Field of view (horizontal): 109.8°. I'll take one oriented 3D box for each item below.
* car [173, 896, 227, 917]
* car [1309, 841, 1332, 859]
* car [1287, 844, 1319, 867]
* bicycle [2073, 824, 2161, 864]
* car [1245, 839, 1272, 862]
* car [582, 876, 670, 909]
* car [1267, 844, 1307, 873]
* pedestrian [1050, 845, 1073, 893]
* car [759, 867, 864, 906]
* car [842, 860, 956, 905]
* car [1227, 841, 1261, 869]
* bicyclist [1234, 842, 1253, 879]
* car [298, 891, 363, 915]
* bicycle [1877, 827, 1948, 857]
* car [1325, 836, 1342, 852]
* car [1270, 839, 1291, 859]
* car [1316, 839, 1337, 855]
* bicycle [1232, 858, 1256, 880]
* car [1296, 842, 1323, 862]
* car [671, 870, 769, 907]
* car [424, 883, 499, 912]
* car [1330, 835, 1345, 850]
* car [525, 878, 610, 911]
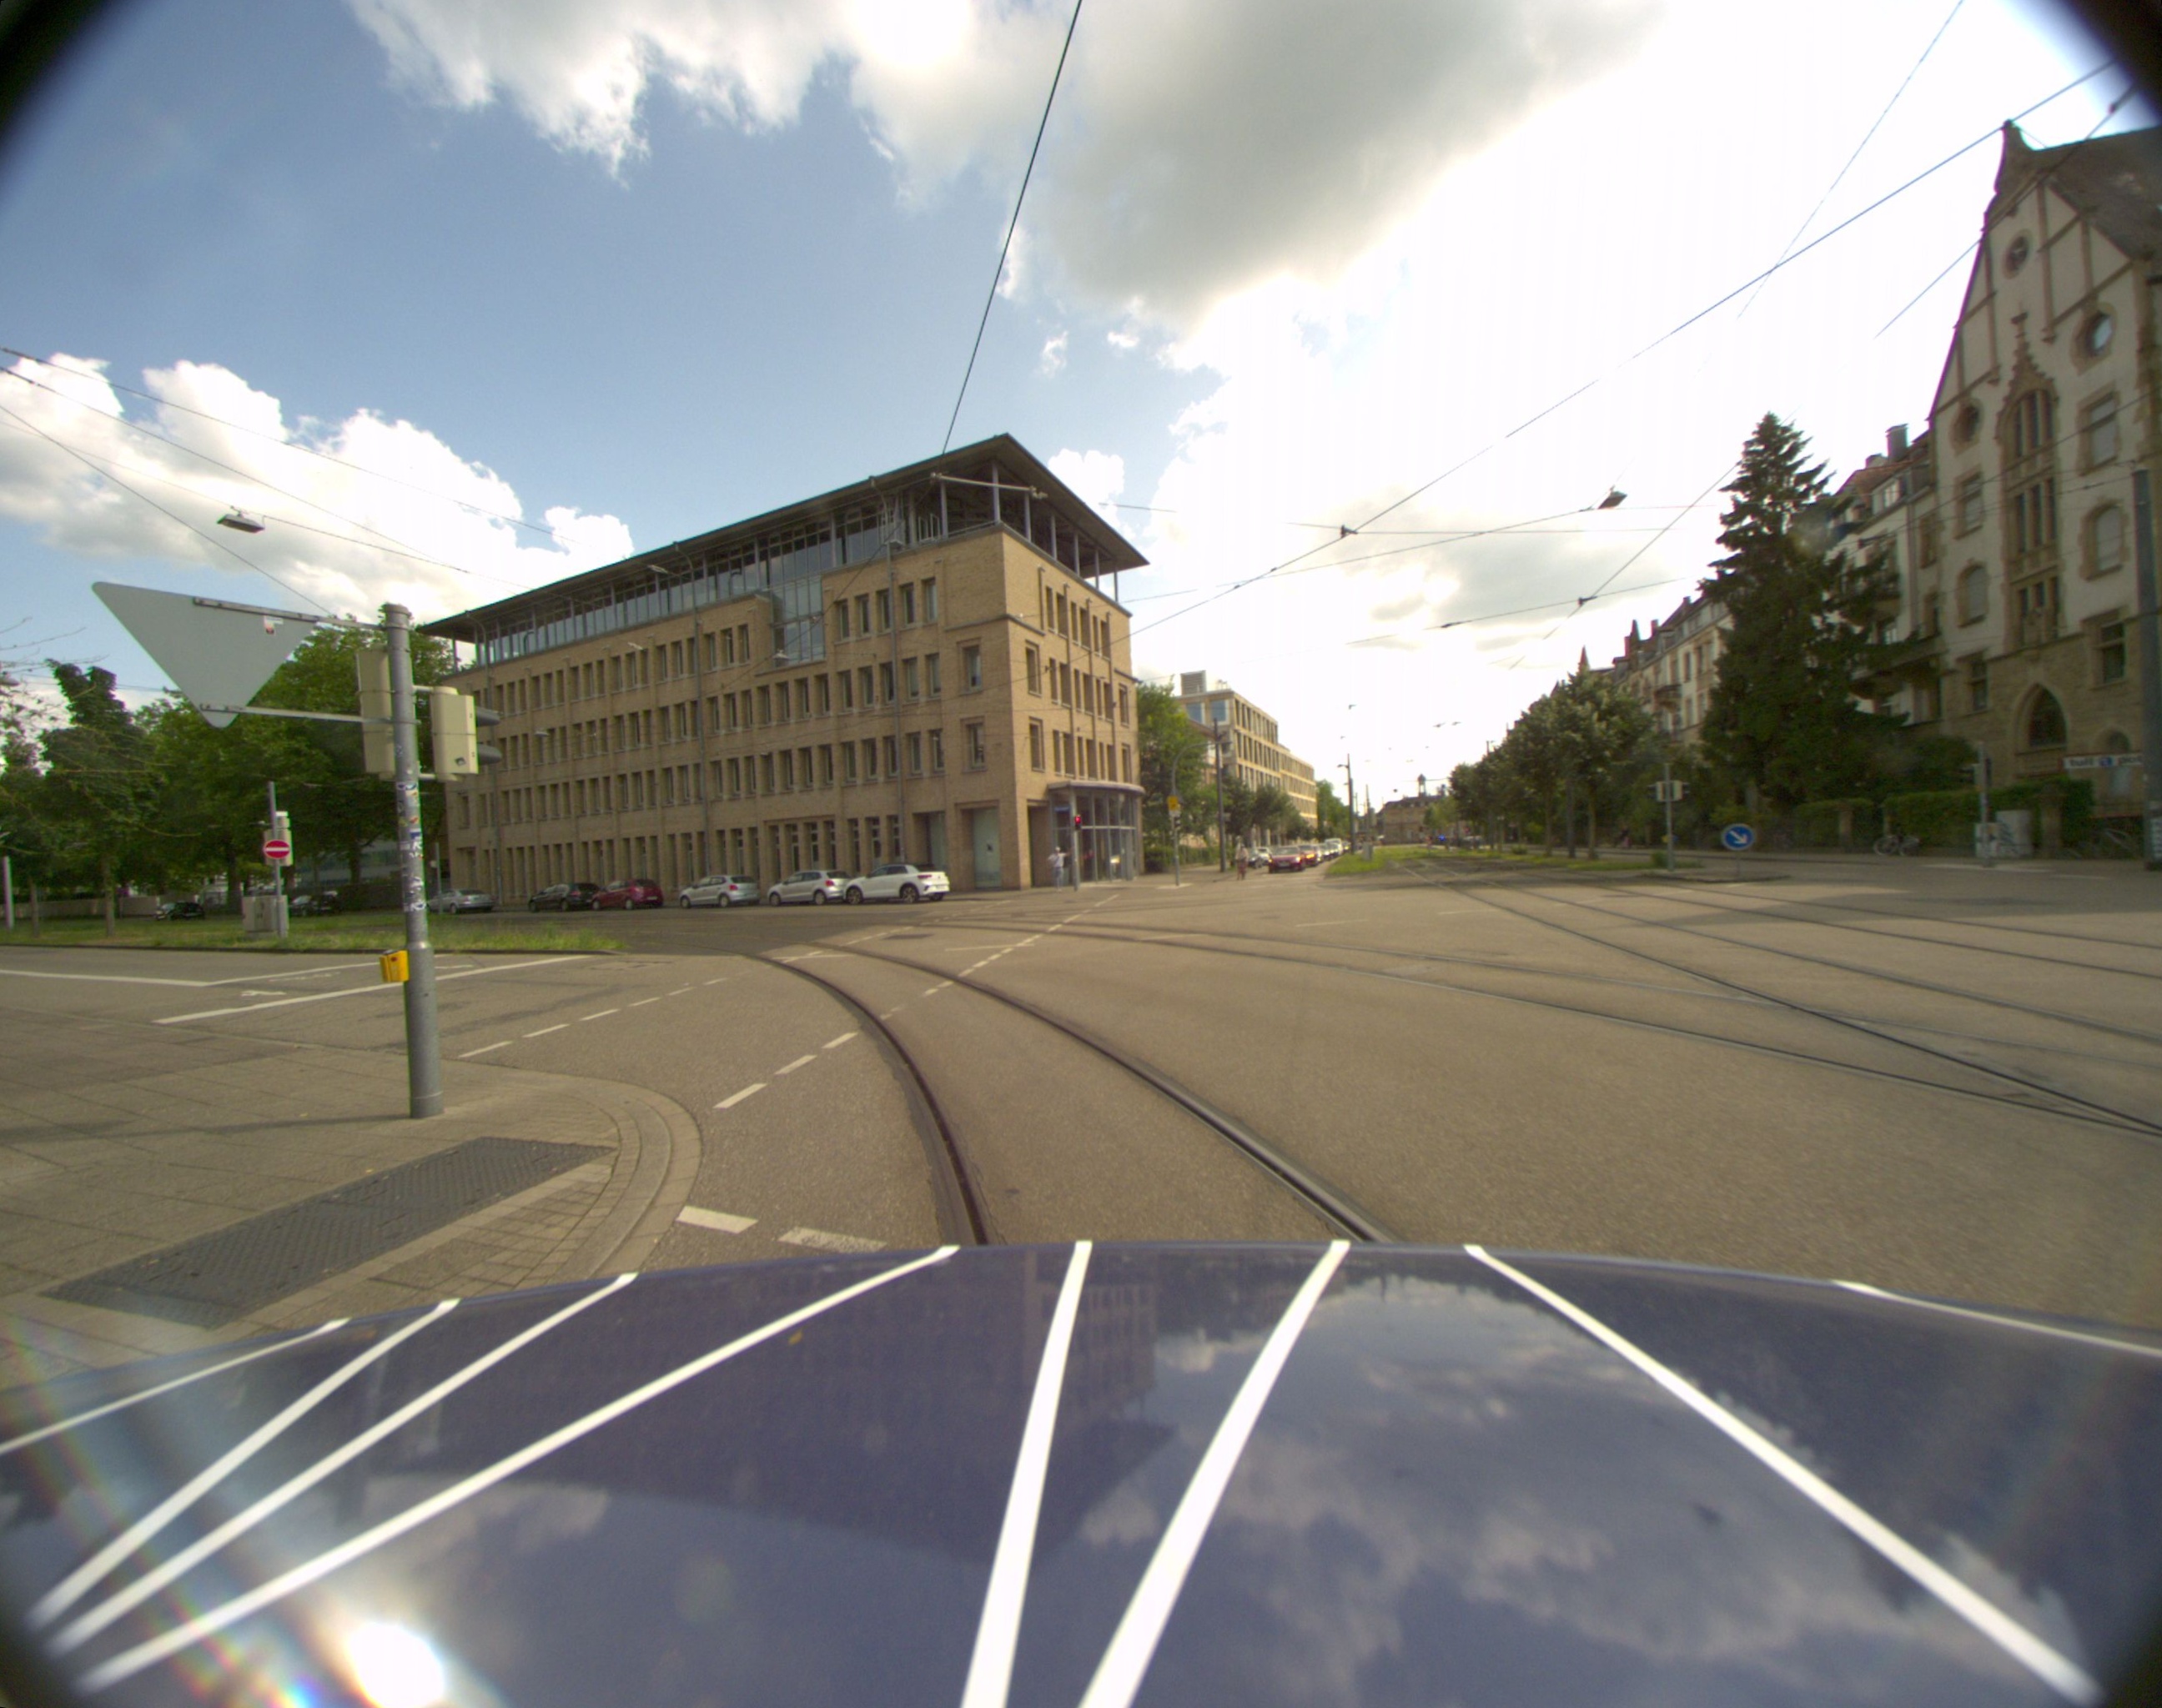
[{"bbox_3d":[-67.647,4.049,58.344,3.990,1.399,1.681,-3,1,26],"label":"car"},{"bbox_3d":[19.674,-0.335,62.364,1.618,1.265,4.005,-4,0,20],"label":"car"},{"bbox_3d":[14.128,0.060,48.252,1.618,1.265,4.005,-4,0,20],"label":"car"},{"bbox_3d":[27.719,-0.281,20.352,0.590,0.967,1.631,-2,2,19],"label":"bicycle"},{"bbox_3d":[13.859,-0.282,59.283,1.833,1.674,4.004,-3,0,16],"label":"car"},{"bbox_3d":[-21.696,1.850,36.213,3.990,1.414,1.679,-3,0,26],"label":"car"},{"bbox_3d":[11.304,0.215,41.557,1.739,1.313,4.005,-5,0,20],"label":"car"},{"bbox_3d":[-0.750,0.571,29.674,0.736,1.832,0.807,-3,1,1],"label":"pedestrian"},{"bbox_3d":[-11.000,1.334,31.029,3.990,1.414,1.679,-3,0,26],"label":"car"},{"bbox_3d":[-6.954,1.106,28.957,3.990,1.538,1.679,-3,0,26],"label":"car"},{"bbox_3d":[11.089,0.035,51.410,1.996,1.730,4.004,-3,0,15],"label":"car"},{"bbox_3d":[7.535,0.275,35.281,0.665,1.679,0.858,-2,1,22],"label":"bicyclist"},{"bbox_3d":[-48.657,3.194,49.264,3.990,1.399,1.681,-3,1,26],"label":"car"},{"bbox_3d":[29.046,-0.418,26.604,0.624,0.966,2.339,-2,1,19],"label":"bicycle"},{"bbox_3d":[26.887,-1.058,80.835,1.578,1.549,4.005,-2,1,20],"label":"car"},{"bbox_3d":[18.122,-0.461,68.911,1.739,1.674,4.004,-3,0,15],"label":"car"},{"bbox_3d":[22.251,-0.613,68.700,1.618,1.265,4.005,-4,0,20],"label":"car"},{"bbox_3d":[7.571,0.691,35.277,0.770,0.885,1.894,-2,1,22],"label":"bicycle"},{"bbox_3d":[16.874,-0.149,55.931,1.618,1.265,4.005,-4,0,20],"label":"car"},{"bbox_3d":[-15.772,1.530,33.216,3.990,1.414,1.679,-3,1,26],"label":"car"},{"bbox_3d":[-34.360,2.420,42.144,3.990,1.414,1.679,-3,0,26],"label":"car"},{"bbox_3d":[30.044,-1.385,88.939,1.644,1.610,3.717,-2,1,20],"label":"car"},{"bbox_3d":[-25.652,2.023,37.929,3.990,1.414,1.679,-2,2,26],"label":"car"}]
